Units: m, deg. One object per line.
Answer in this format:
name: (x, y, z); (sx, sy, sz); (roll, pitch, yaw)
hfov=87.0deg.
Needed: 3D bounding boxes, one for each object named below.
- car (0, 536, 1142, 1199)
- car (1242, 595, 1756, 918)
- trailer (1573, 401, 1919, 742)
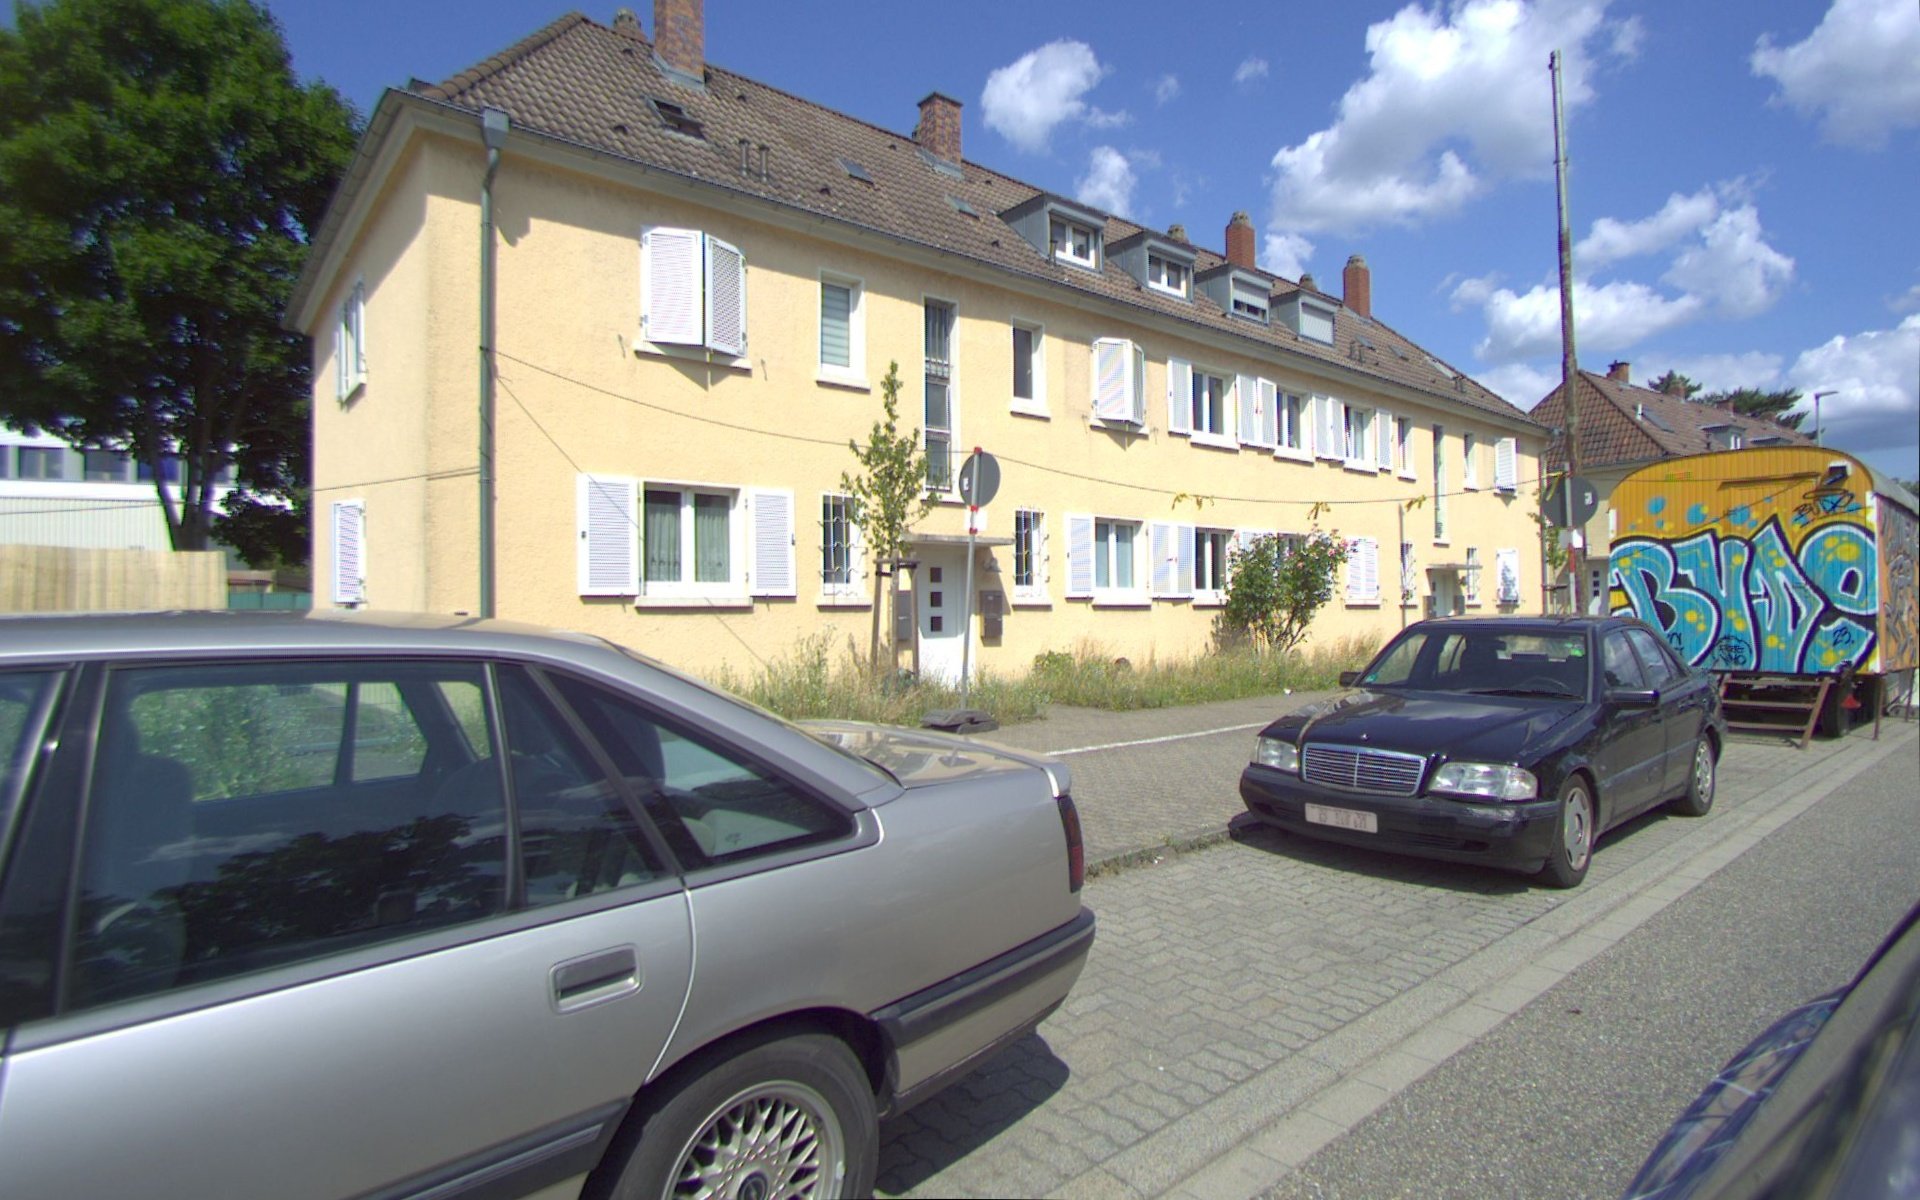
car: (-1.863, 0.674, 1.675); (4.752, 1.468, 1.709); (0, -1, -42)
car: (3.779, 0.725, 6.688); (4.377, 1.468, 1.579); (0, -1, -42)
trailer: (9.908, -0.256, 12.344); (4.993, 3.268, 2.694); (0, -1, -41)
